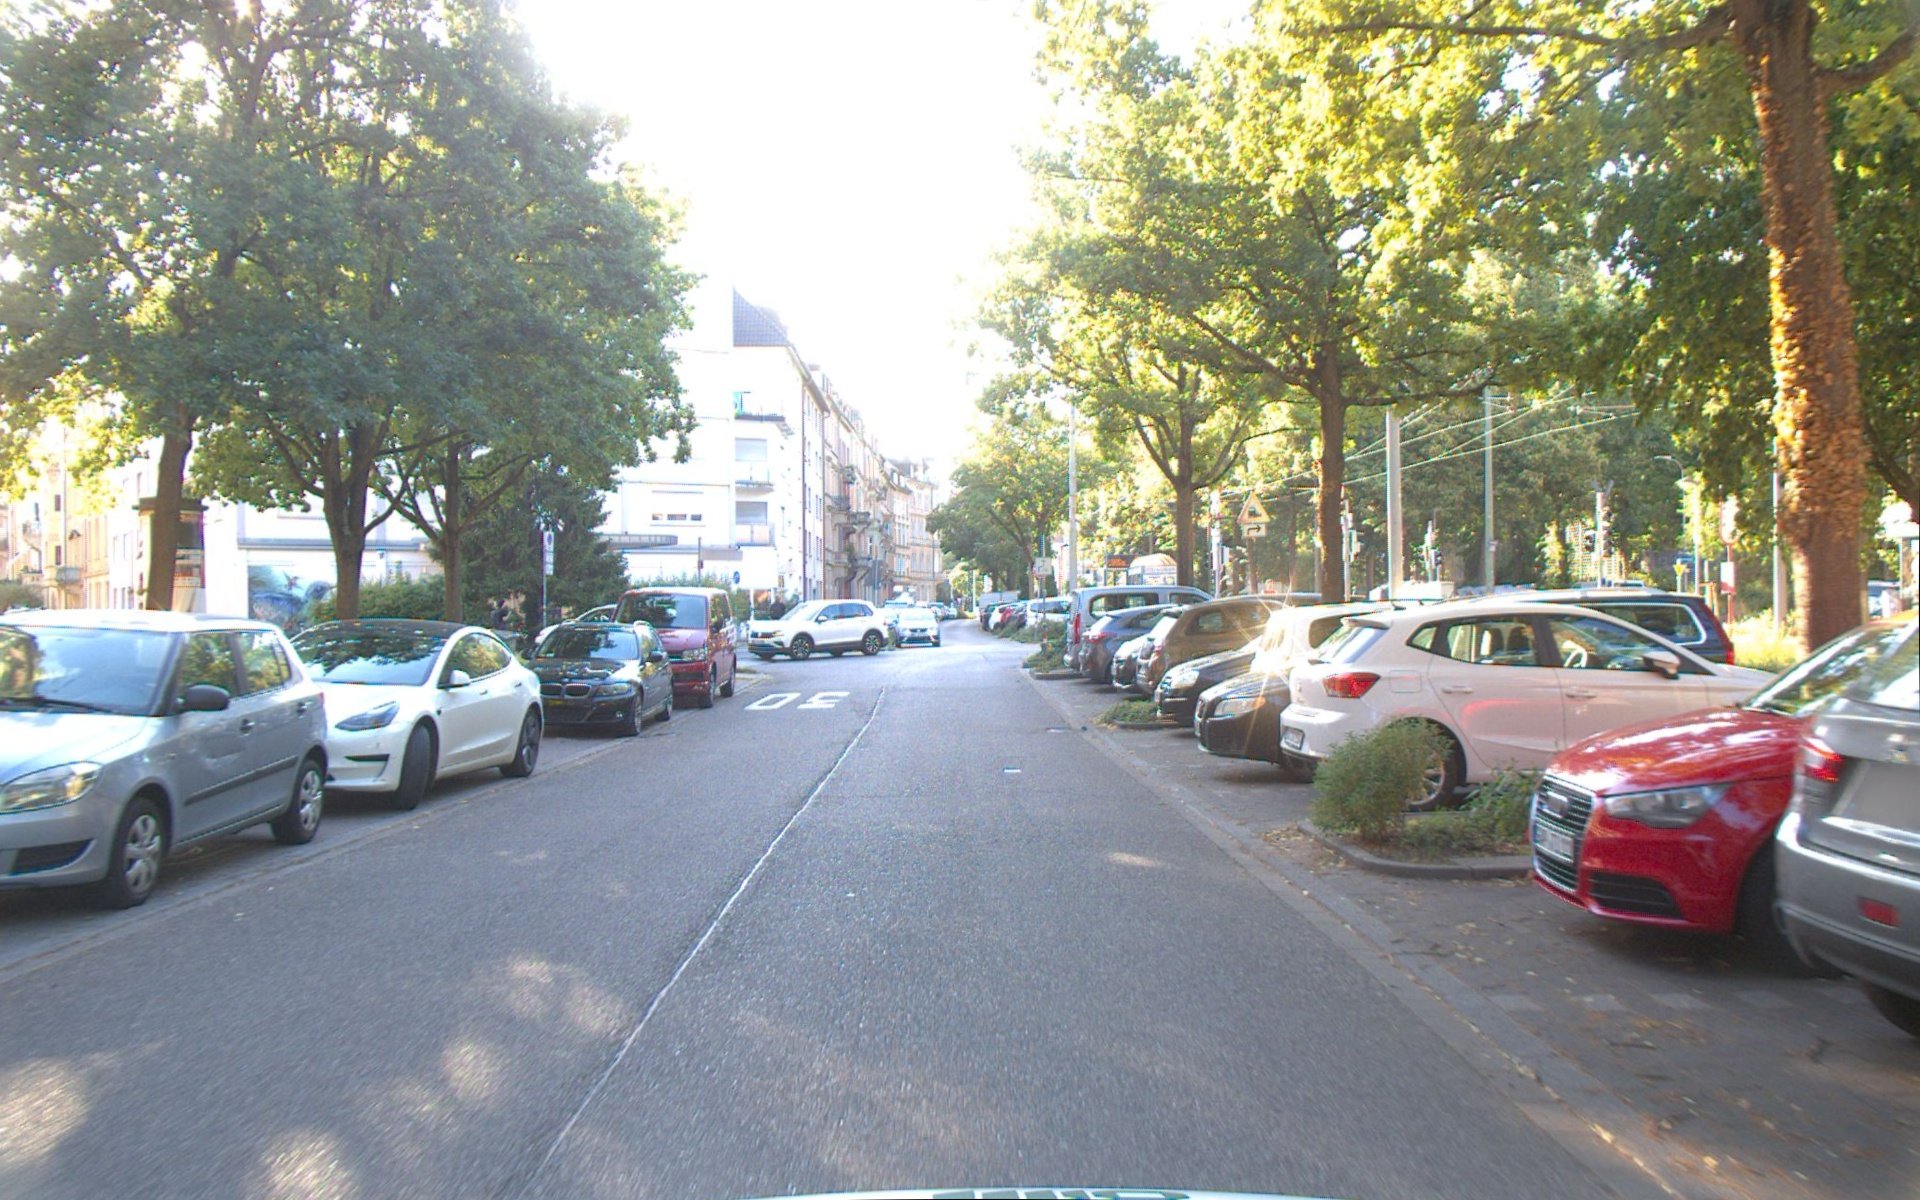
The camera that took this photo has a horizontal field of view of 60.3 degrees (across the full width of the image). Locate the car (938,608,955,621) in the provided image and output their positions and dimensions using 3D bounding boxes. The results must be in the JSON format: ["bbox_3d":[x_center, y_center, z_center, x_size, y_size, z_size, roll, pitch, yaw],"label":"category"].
[{"bbox_3d":[-1.685,1.781,205.109,1.674,1.471,4.003,-2,0,6],"label":"car"}]

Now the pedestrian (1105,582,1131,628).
[{"bbox_3d":[6.777,0.199,70.896,0.832,1.944,0.836,-2,-1,30],"label":"pedestrian"}]

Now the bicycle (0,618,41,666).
[{"bbox_3d":[-30.001,1.300,50.538,3.336,1.470,0.871,0,-1,-33],"label":"bicycle"}]

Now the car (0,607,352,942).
[{"bbox_3d":[-4.994,0.814,9.524,1.650,1.501,3.880,1,0,-2],"label":"car"}]

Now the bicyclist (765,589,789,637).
[{"bbox_3d":[-6.290,0.440,56.955,0.697,1.645,0.723,-1,0,0],"label":"bicyclist"}]

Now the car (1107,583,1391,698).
[{"bbox_3d":[4.671,0.661,27.257,4.343,1.721,1.950,-1,-1,1],"label":"car"}]

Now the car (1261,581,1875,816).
[{"bbox_3d":[4.359,0.679,12.278,3.906,1.486,1.684,-2,0,0],"label":"car"}]

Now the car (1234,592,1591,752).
[{"bbox_3d":[4.708,0.728,17.572,3.328,1.541,1.719,-1,0,1],"label":"car"}]

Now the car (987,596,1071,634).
[{"bbox_3d":[3.725,0.812,89.493,4.156,1.679,1.851,-6,-1,36],"label":"car"}]

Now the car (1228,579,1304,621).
[{"bbox_3d":[19.731,-0.002,106.668,4.403,2.520,1.815,1,-1,31],"label":"car"}]

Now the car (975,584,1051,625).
[{"bbox_3d":[4.025,0.368,125.436,5.151,2.616,2.271,-5,-1,28],"label":"car"}]

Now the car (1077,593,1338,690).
[{"bbox_3d":[4.385,0.740,29.873,4.444,1.600,1.950,-1,-1,1],"label":"car"}]

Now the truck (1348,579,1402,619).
[{"bbox_3d":[26.409,-0.056,105.393,2.318,2.393,4.383,-1,0,0],"label":"truck"}]

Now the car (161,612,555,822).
[{"bbox_3d":[-4.986,0.884,14.401,1.739,1.501,4.271,1,0,2],"label":"car"}]

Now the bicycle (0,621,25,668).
[{"bbox_3d":[-30.883,1.369,51.204,3.336,1.471,0.871,1,-2,-33],"label":"bicycle"}]

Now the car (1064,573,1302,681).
[{"bbox_3d":[4.315,0.531,32.560,4.444,1.948,1.950,-1,-1,1],"label":"car"}]

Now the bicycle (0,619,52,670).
[{"bbox_3d":[-28.588,1.320,48.592,3.336,1.470,0.871,0,-1,-33],"label":"bicycle"}]

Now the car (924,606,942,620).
[{"bbox_3d":[-2.952,1.385,181.336,1.675,1.471,4.001,-2,0,2],"label":"car"}]

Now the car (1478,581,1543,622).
[{"bbox_3d":[27.216,0.097,81.882,1.541,1.937,3.897,-1,0,-6],"label":"car"}]

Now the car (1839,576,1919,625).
[{"bbox_3d":[33.903,-0.010,59.997,4.139,1.685,1.899,-1,3,-36],"label":"car"}]

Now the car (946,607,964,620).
[{"bbox_3d":[-0.652,1.720,210.015,1.674,1.471,4.003,-2,0,8],"label":"car"}]

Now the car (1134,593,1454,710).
[{"bbox_3d":[4.933,0.762,24.946,4.444,1.600,1.950,-1,-1,1],"label":"car"}]

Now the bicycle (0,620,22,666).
[{"bbox_3d":[-31.856,1.358,52.724,3.336,1.471,0.871,1,-2,-33],"label":"bicycle"}]

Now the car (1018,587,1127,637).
[{"bbox_3d":[4.680,0.513,69.092,4.149,1.681,1.605,-5,-1,31],"label":"car"}]

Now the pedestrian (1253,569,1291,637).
[{"bbox_3d":[9.174,0.094,48.657,0.884,1.952,1.150,-1,0,0],"label":"pedestrian"}]

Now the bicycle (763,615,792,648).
[{"bbox_3d":[-6.271,1.062,56.982,0.697,1.069,2.347,-1,0,0],"label":"bicycle"}]

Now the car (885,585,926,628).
[{"bbox_3d":[-3.878,0.435,118.737,2.499,2.937,5.483,-2,0,2],"label":"car"}]

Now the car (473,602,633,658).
[{"bbox_3d":[-12.004,0.872,48.998,4.192,1.476,1.924,-1,1,2],"label":"car"}]

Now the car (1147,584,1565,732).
[{"bbox_3d":[4.679,0.689,20.119,4.603,1.600,2.000,-1,-1,1],"label":"car"}]

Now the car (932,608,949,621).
[{"bbox_3d":[-2.319,1.718,199.711,1.675,1.471,4.002,-2,0,4],"label":"car"}]

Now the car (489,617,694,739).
[{"bbox_3d":[-4.956,0.999,22.832,1.739,1.459,4.271,1,0,2],"label":"car"}]

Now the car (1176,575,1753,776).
[{"bbox_3d":[4.382,0.660,14.984,4.603,1.600,2.000,-1,-1,1],"label":"car"}]

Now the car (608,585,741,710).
[{"bbox_3d":[-4.873,0.763,28.778,1.741,1.967,4.769,1,0,-4],"label":"car"}]

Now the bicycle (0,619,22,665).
[{"bbox_3d":[-32.310,1.354,53.517,3.336,1.471,0.871,1,-2,-33],"label":"bicycle"}]

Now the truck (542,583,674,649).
[{"bbox_3d":[-14.392,0.636,67.707,4.915,2.579,1.975,-1,0,-35],"label":"truck"}]

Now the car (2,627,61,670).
[{"bbox_3d":[-41.265,2.132,73.451,1.976,1.816,3.953,-1,0,-34],"label":"car"}]

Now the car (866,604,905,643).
[{"bbox_3d":[-3.496,1.072,77.622,1.676,1.702,3.998,-2,0,-3],"label":"car"}]

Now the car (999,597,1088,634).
[{"bbox_3d":[4.247,0.804,83.994,4.143,1.484,1.607,-5,-1,24],"label":"car"}]

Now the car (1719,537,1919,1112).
[{"bbox_3d":[4.606,0.561,4.872,3.907,1.607,1.765,-2,0,-3],"label":"car"}]

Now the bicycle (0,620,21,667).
[{"bbox_3d":[-31.439,1.362,51.972,3.336,1.471,0.871,1,-2,-33],"label":"bicycle"}]

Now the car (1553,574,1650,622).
[{"bbox_3d":[28.189,-0.068,72.835,1.908,2.038,4.650,-1,0,-9],"label":"car"}]

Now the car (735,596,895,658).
[{"bbox_3d":[-4.157,0.754,47.943,1.909,1.676,4.503,-2,0,44],"label":"car"}]

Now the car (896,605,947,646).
[{"bbox_3d":[-1.539,0.976,64.522,1.677,1.471,3.996,-2,0,-5],"label":"car"}]

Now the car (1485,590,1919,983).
[{"bbox_3d":[4.530,0.680,7.227,3.906,1.448,1.684,-2,0,0],"label":"car"}]
